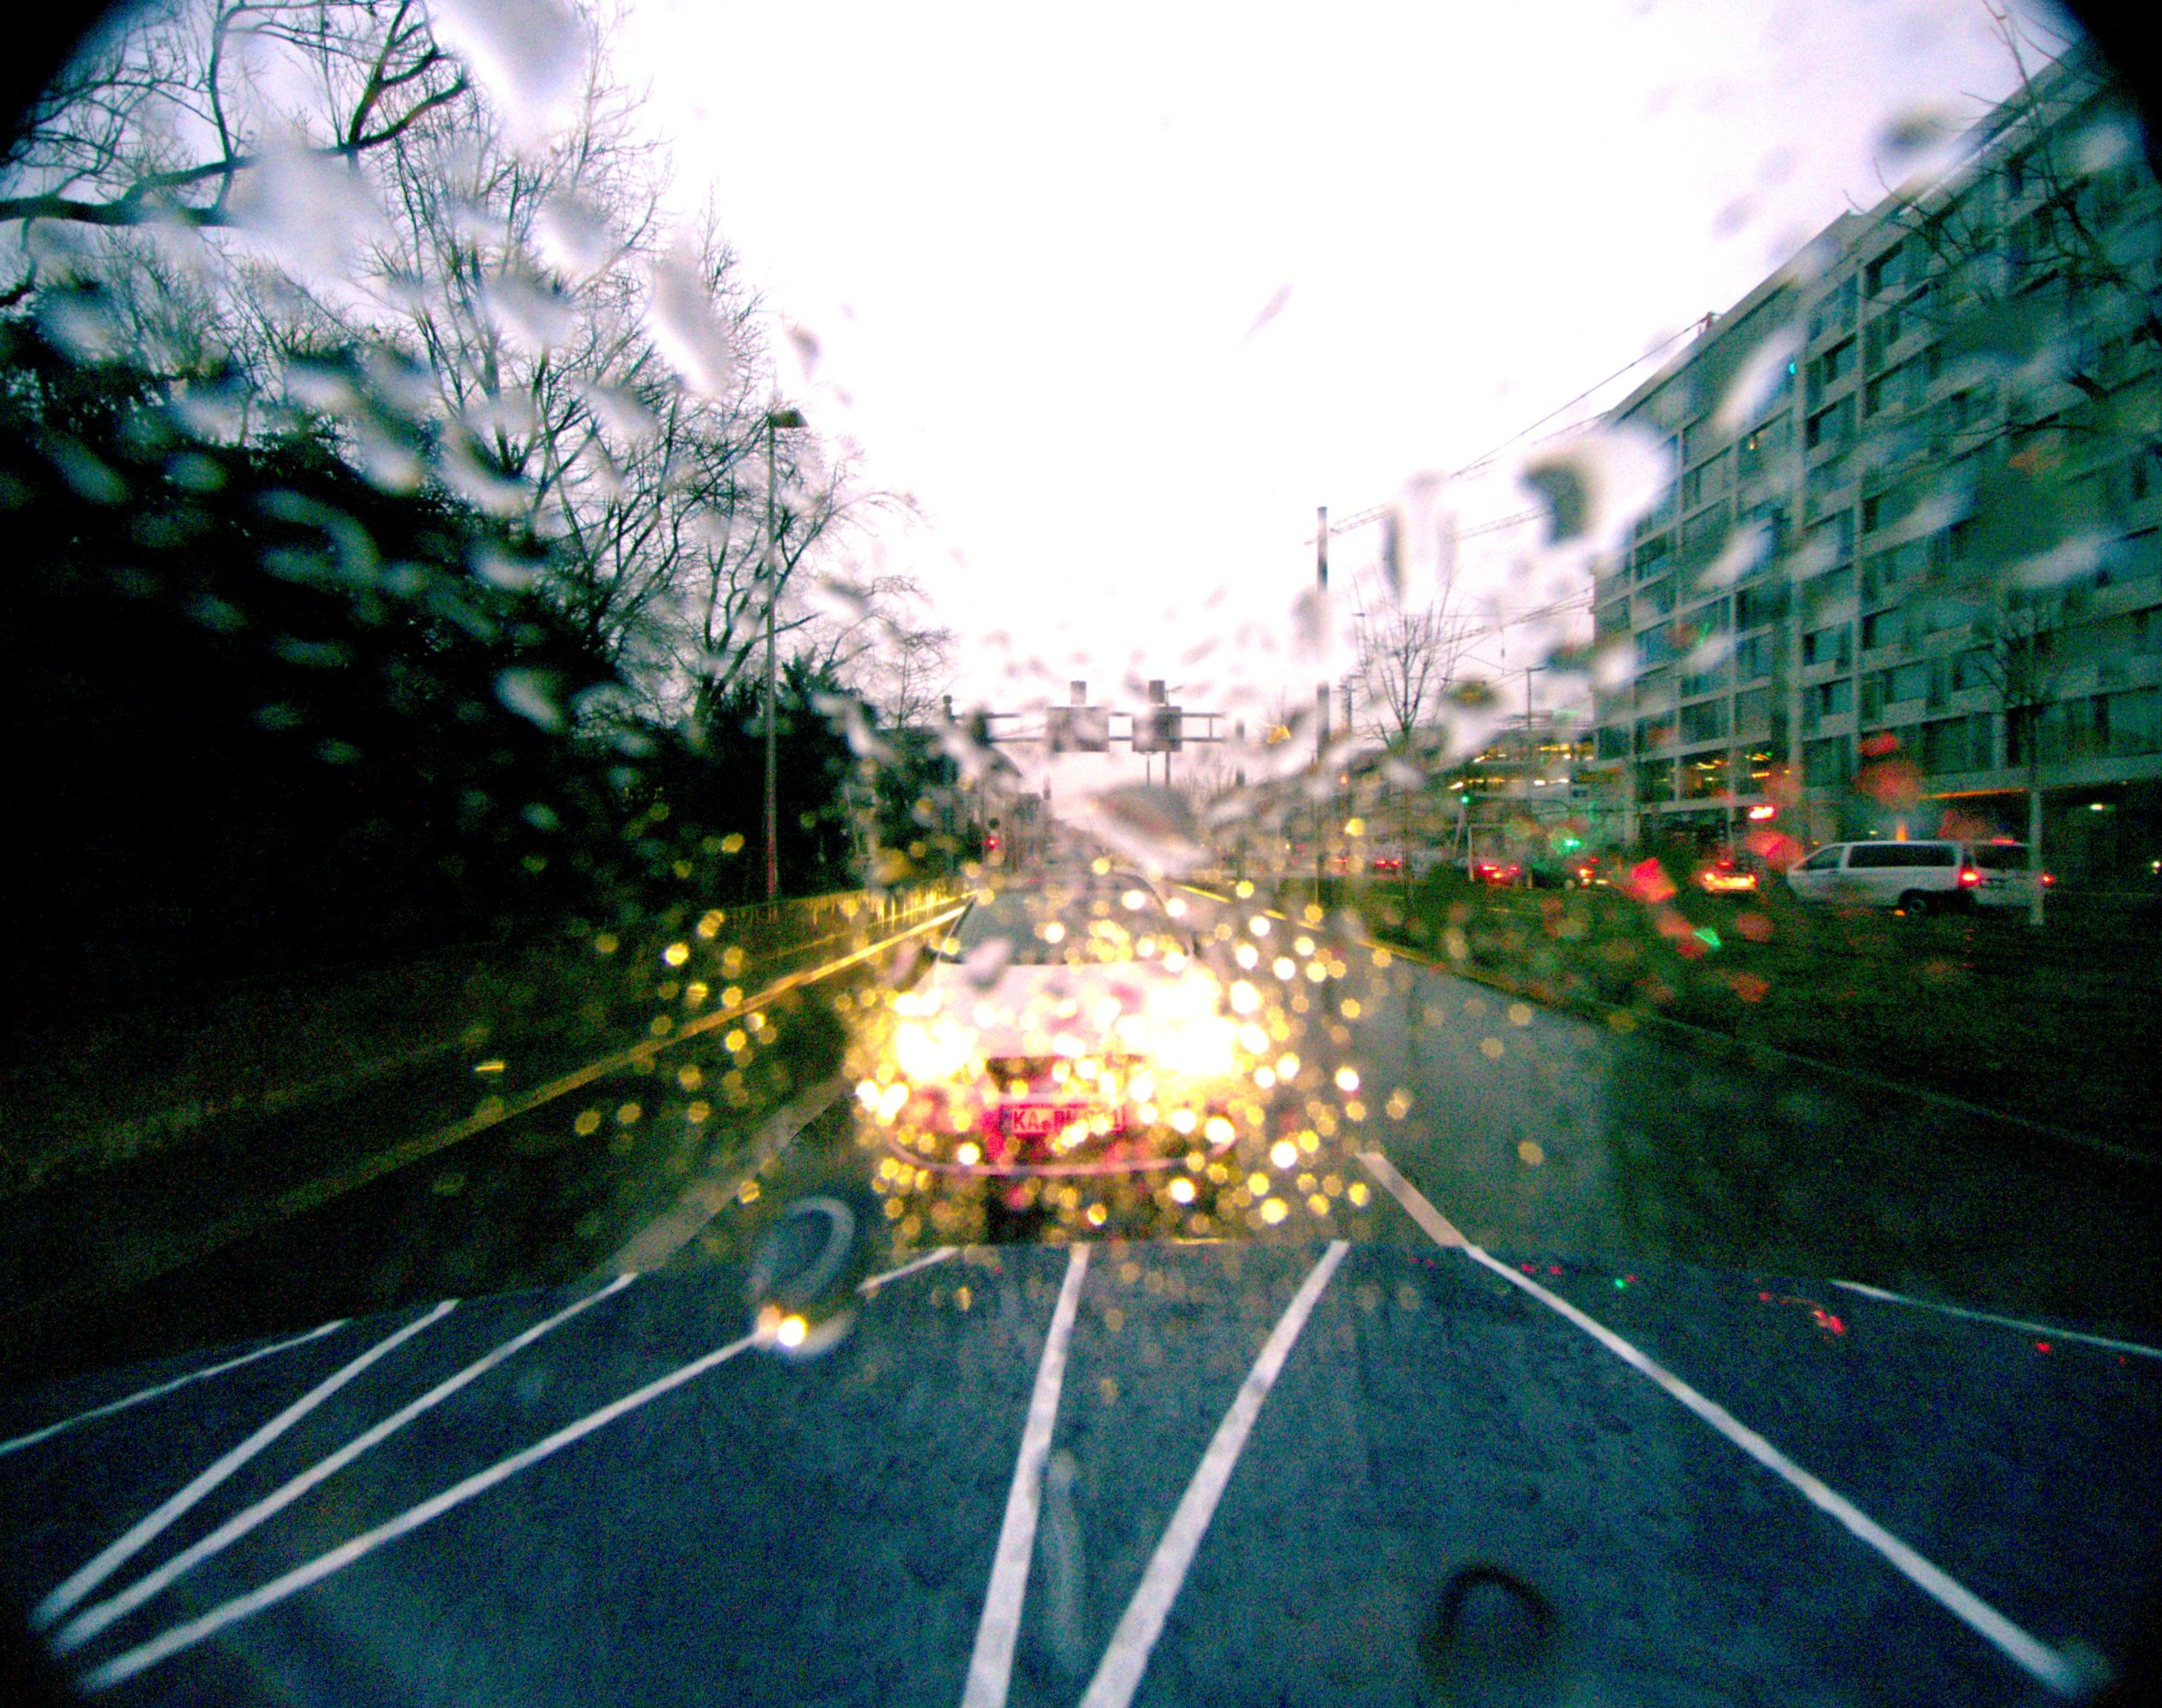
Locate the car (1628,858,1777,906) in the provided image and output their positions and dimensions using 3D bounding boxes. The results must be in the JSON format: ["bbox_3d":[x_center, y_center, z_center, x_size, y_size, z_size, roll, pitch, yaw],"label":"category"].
[{"bbox_3d":[20.410,0.868,25.165,1.900,1.423,3.706,0,0,0],"label":"car"}]

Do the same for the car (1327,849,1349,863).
[{"bbox_3d":[33.422,0.254,98.936,1.899,1.709,4.919,0,0,8],"label":"car"}]

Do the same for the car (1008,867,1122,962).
[{"bbox_3d":[-0.248,0.976,13.807,1.728,1.318,3.981,-2,1,0],"label":"car"}]

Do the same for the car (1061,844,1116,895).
[{"bbox_3d":[0.258,0.507,27.436,1.781,1.666,3.981,-2,1,0],"label":"car"}]

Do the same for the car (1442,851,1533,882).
[{"bbox_3d":[20.479,0.581,38.565,1.998,1.459,5.034,0,0,1],"label":"car"}]

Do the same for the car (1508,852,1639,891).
[{"bbox_3d":[20.502,0.674,31.899,2.001,1.488,4.444,0,0,-15],"label":"car"}]

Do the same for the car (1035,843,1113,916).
[{"bbox_3d":[-0.176,0.587,19.830,1.781,1.666,3.981,-2,1,0],"label":"car"}]

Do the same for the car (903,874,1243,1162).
[{"bbox_3d":[-0.040,0.942,6.091,1.798,1.363,3.981,-2,1,0],"label":"car"}]

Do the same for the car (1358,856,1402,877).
[{"bbox_3d":[25.720,1.011,65.541,1.900,1.709,4.916,0,0,1],"label":"car"}]

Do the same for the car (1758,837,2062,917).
[{"bbox_3d":[19.896,0.480,18.707,1.901,1.709,5.117,0,0,0],"label":"car"}]

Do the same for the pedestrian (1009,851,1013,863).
[{"bbox_3d":[-9.135,0.355,98.843,0.521,1.501,0.588,0,1,1],"label":"pedestrian"}]
